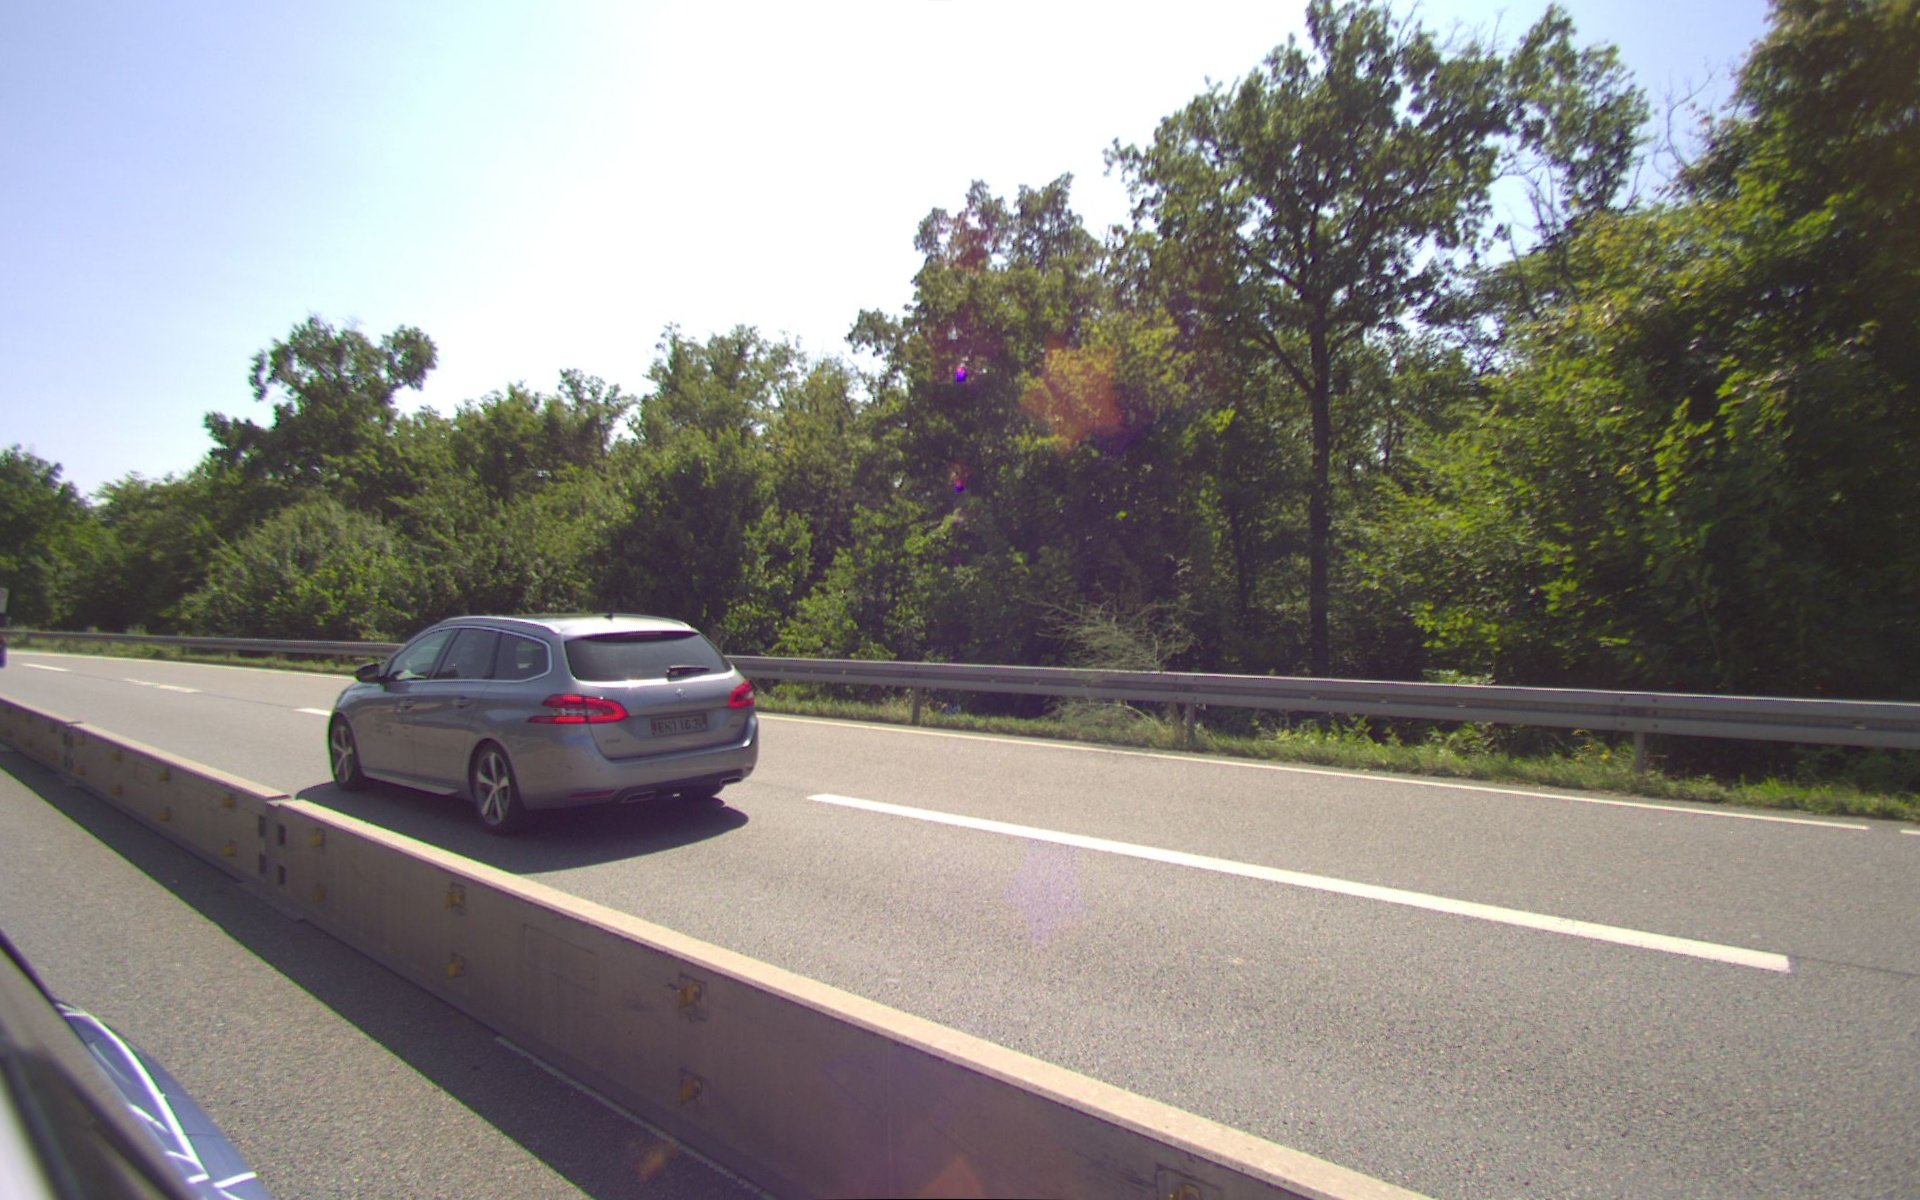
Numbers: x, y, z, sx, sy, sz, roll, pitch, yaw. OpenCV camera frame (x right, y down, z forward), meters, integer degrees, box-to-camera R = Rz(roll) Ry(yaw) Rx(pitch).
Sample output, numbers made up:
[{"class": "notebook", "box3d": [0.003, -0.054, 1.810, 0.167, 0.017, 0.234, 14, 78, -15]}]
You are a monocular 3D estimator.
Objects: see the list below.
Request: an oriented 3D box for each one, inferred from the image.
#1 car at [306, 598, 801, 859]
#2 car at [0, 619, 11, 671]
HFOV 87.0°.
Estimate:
[{"class": "car", "box3d": [-3.360, 0.786, 7.910, 4.384, 1.507, 1.708, -1, -1, 39]}, {"class": "car", "box3d": [-29.000, 1.299, 29.240, 4.104, 1.435, 1.797, -1, -1, 40]}]
